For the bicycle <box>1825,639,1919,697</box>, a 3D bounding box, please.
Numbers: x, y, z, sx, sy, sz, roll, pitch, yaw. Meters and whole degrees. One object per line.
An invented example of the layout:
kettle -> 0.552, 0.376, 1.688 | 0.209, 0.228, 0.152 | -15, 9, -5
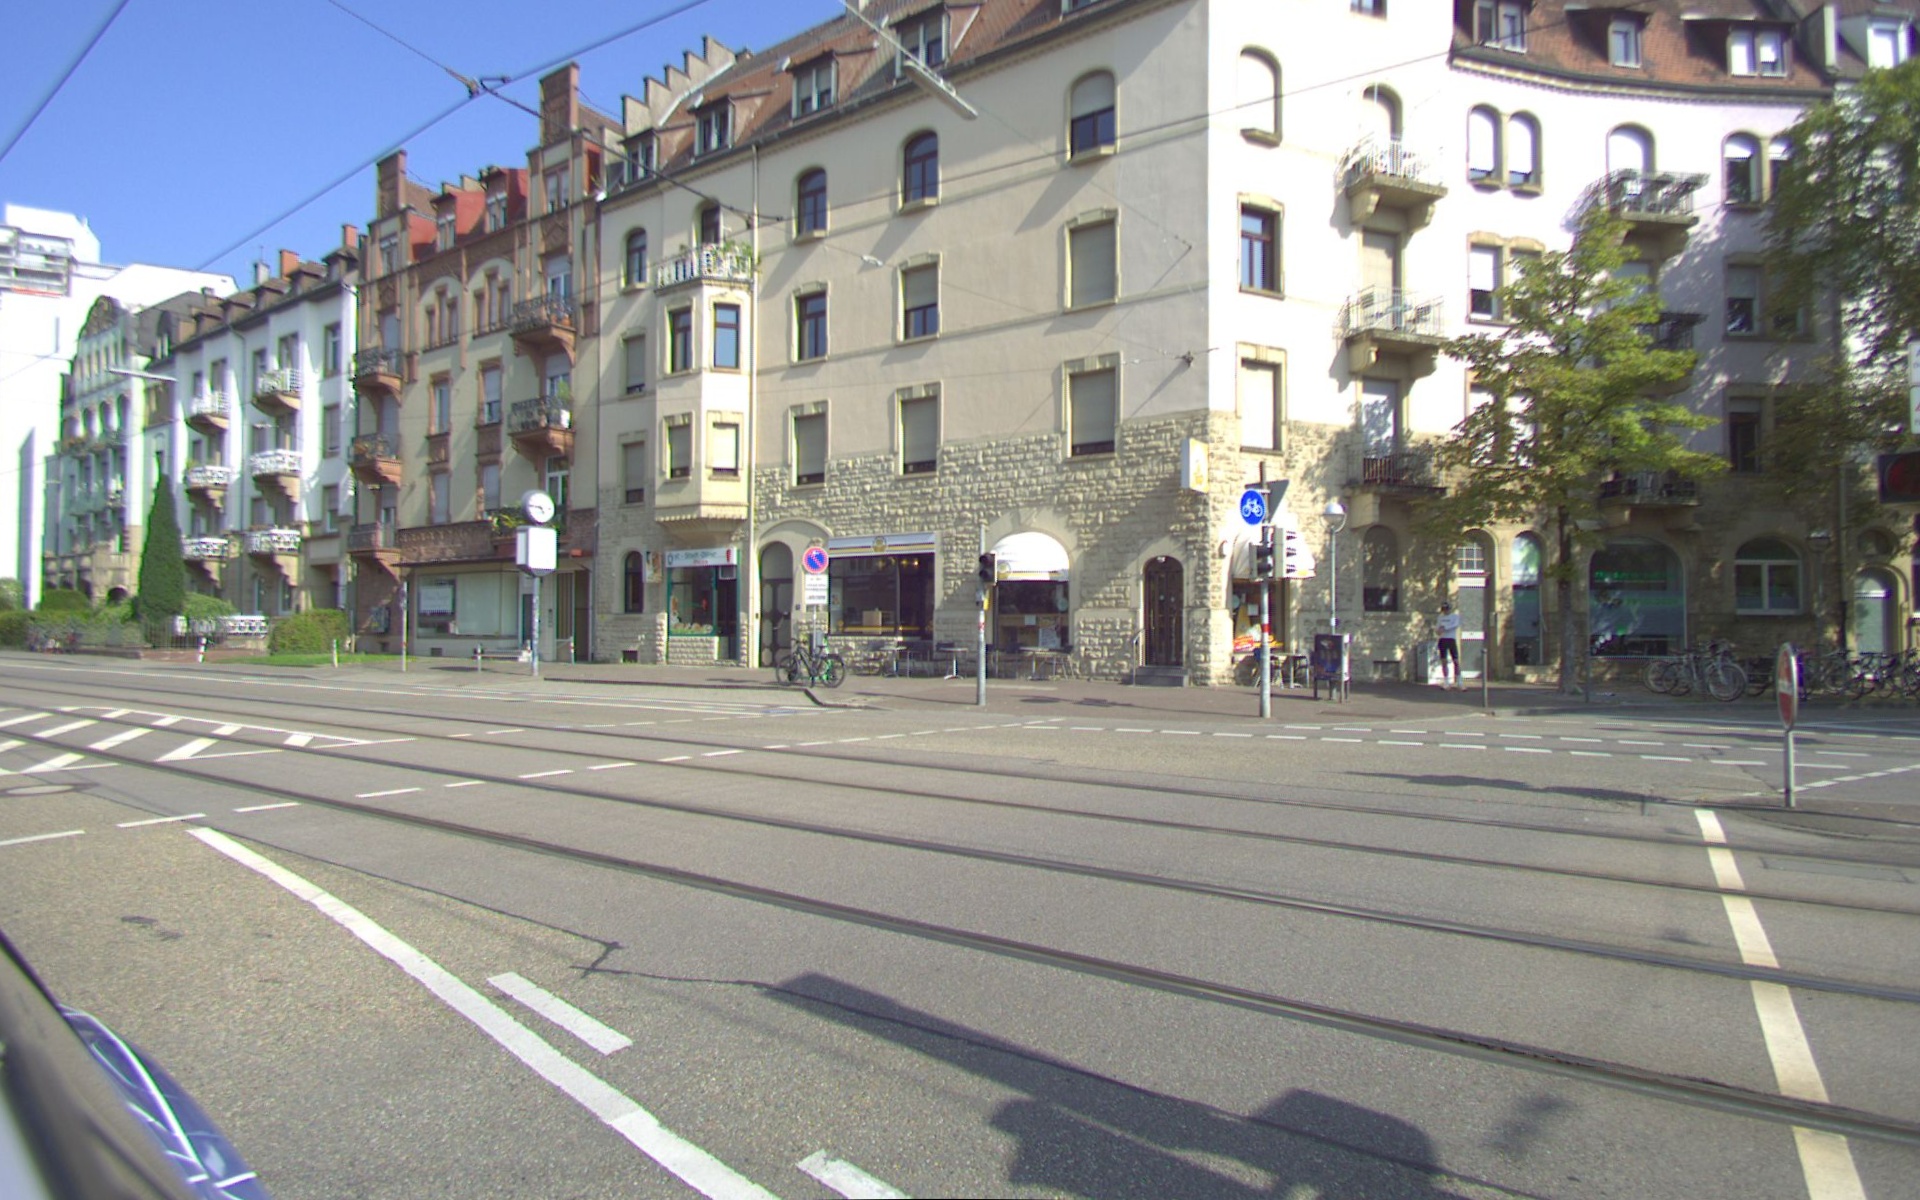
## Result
bicycle -> 19.310, 1.392, 20.860 | 0.686, 1.087, 2.346 | 0, -1, -9

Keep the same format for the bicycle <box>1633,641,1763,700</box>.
bicycle -> 15.184, 1.417, 20.918 | 0.686, 1.087, 2.346 | 0, -1, -9

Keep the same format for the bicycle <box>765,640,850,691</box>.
bicycle -> -3.424, 1.454, 22.698 | 1.883, 1.112, 0.542 | -1, -2, 21

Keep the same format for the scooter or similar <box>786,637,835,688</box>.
scooter or similar -> -3.467, 1.449, 23.471 | 1.079, 1.167, 0.442 | 0, -2, -2

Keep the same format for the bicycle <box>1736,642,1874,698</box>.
bicycle -> 17.833, 1.451, 21.451 | 0.686, 1.087, 2.346 | 0, -2, -9

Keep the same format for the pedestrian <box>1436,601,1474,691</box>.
pedestrian -> 10.625, 0.979, 21.723 | 0.670, 1.882, 0.728 | -1, -2, 30

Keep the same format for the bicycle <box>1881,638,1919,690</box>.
bicycle -> 20.771, 1.347, 21.122 | 0.686, 1.087, 2.346 | 0, -2, -9

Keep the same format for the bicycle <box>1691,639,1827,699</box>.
bicycle -> 16.385, 1.391, 20.844 | 0.686, 1.087, 2.346 | 0, -1, -9
